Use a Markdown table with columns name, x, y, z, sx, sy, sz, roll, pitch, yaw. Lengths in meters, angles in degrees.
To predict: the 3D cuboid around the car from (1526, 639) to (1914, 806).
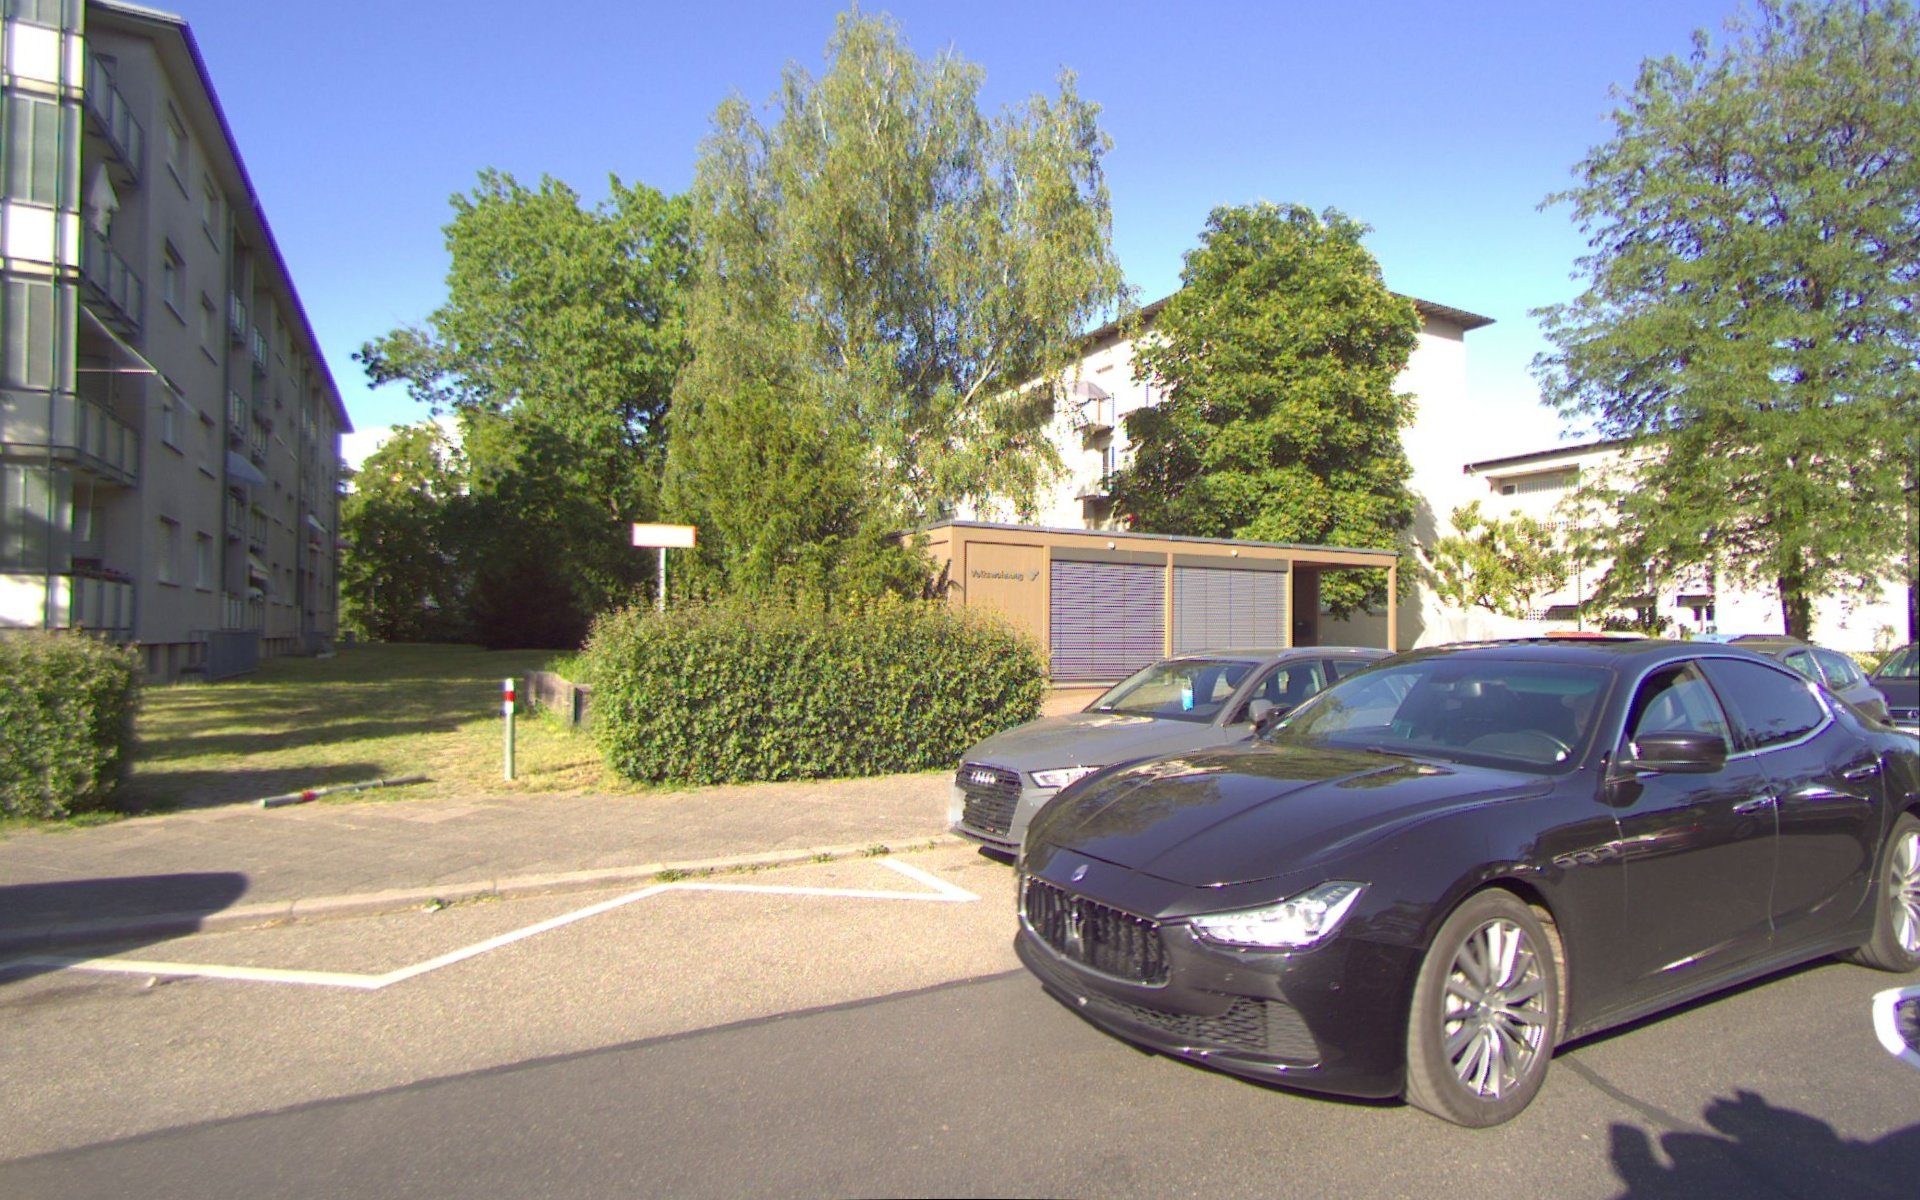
| name | x | y | z | sx | sy | sz | roll | pitch | yaw |
| --- | --- | --- | --- | --- | --- | --- | --- | --- | --- |
| car | 8.151 | 1.201 | 10.748 | 3.908 | 1.500 | 1.748 | 1 | -4 | -27 |

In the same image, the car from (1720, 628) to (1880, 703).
| name | x | y | z | sx | sy | sz | roll | pitch | yaw |
| --- | --- | --- | --- | --- | --- | --- | --- | --- | --- |
| car | 19.115 | 1.445 | 22.828 | 3.953 | 1.545 | 1.563 | 2 | -1 | -31 |

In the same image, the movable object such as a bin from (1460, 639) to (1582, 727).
| name | x | y | z | sx | sy | sz | roll | pitch | yaw |
| --- | --- | --- | --- | --- | --- | --- | --- | --- | --- |
| movable object such as a bin | 8.936 | 1.295 | 16.027 | 1.326 | 1.305 | 1.173 | 1 | -1 | -28 |

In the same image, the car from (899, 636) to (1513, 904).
| name | x | y | z | sx | sy | sz | roll | pitch | yaw |
| --- | --- | --- | --- | --- | --- | --- | --- | --- | --- |
| car | 1.830 | 1.017 | 7.219 | 4.216 | 1.439 | 1.747 | 1 | -4 | -29 |

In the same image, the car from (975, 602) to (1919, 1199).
| name | x | y | z | sx | sy | sz | roll | pitch | yaw |
| --- | --- | --- | --- | --- | --- | --- | --- | --- | --- |
| car | 2.479 | 0.832 | 4.450 | 4.515 | 1.496 | 1.903 | 1 | -3 | -29 |

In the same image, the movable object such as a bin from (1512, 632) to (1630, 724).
| name | x | y | z | sx | sy | sz | roll | pitch | yaw |
| --- | --- | --- | --- | --- | --- | --- | --- | --- | --- |
| movable object such as a bin | 10.125 | 1.259 | 16.653 | 1.326 | 1.426 | 1.173 | 1 | -1 | -28 |

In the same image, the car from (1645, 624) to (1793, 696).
| name | x | y | z | sx | sy | sz | roll | pitch | yaw |
| --- | --- | --- | --- | --- | --- | --- | --- | --- | --- |
| car | 18.835 | 1.448 | 24.889 | 3.953 | 1.662 | 1.563 | 2 | -1 | -31 |

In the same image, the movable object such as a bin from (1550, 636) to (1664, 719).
| name | x | y | z | sx | sy | sz | roll | pitch | yaw |
| --- | --- | --- | --- | --- | --- | --- | --- | --- | --- |
| movable object such as a bin | 11.268 | 1.325 | 17.503 | 1.326 | 1.358 | 1.173 | 1 | -1 | -27 |

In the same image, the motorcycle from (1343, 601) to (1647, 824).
| name | x | y | z | sx | sy | sz | roll | pitch | yaw |
| --- | --- | --- | --- | --- | --- | --- | --- | --- | --- |
| motorcycle | 4.754 | 0.973 | 9.142 | 0.922 | 1.749 | 2.246 | 1 | -4 | -30 |

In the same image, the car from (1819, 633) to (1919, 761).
| name | x | y | z | sx | sy | sz | roll | pitch | yaw |
| --- | --- | --- | --- | --- | --- | --- | --- | --- | --- |
| car | 13.494 | 1.256 | 13.545 | 3.676 | 1.594 | 1.747 | 2 | -4 | -30 |
